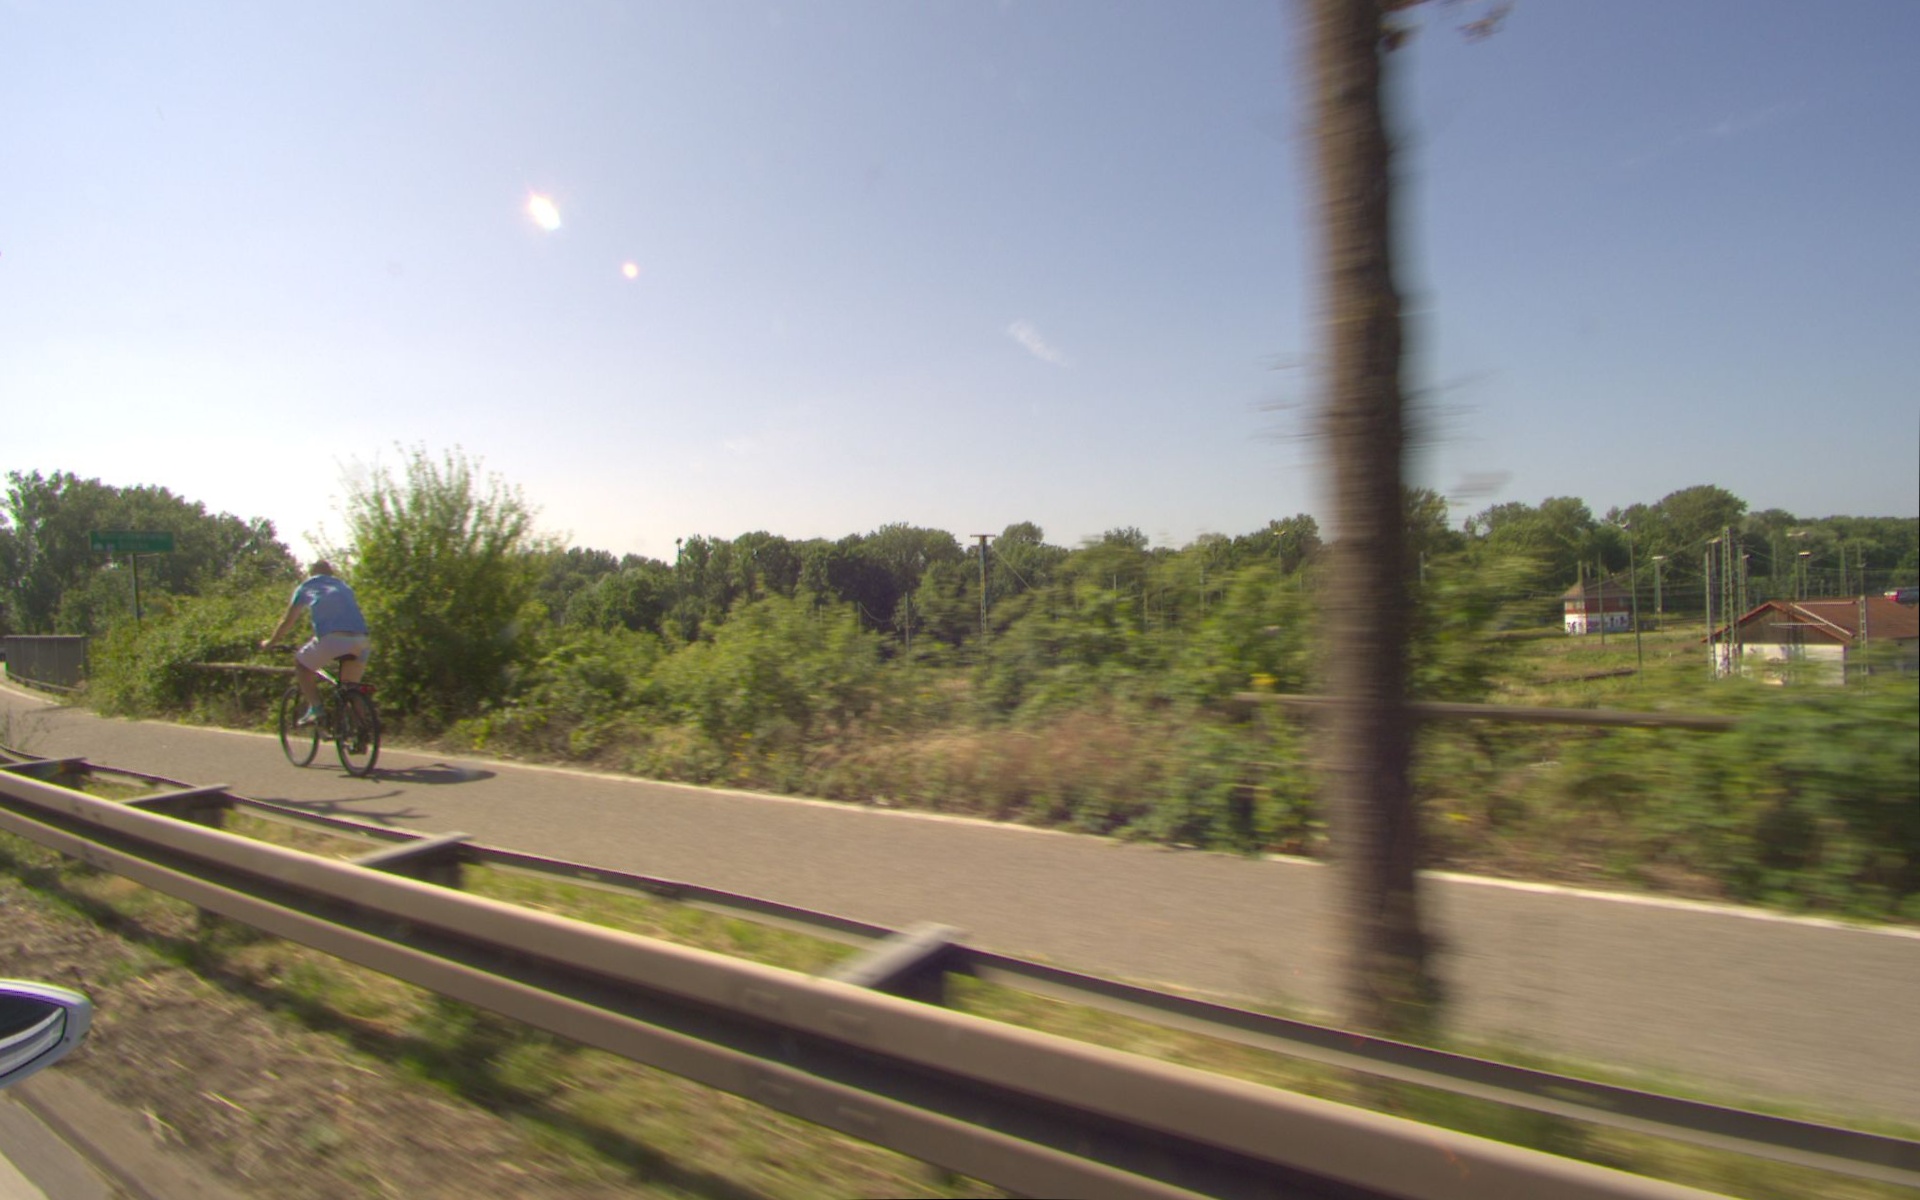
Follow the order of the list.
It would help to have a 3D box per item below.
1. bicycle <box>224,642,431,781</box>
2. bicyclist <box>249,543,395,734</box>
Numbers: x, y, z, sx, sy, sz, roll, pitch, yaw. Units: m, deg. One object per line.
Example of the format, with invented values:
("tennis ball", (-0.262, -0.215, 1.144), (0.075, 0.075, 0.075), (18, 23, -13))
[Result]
("bicycle", (-5.431, 0.911, 8.572), (1.819, 1.034, 0.700), (-2, 2, 31))
("bicyclist", (-5.436, 0.317, 8.544), (0.791, 1.540, 0.657), (-3, 2, 29))
